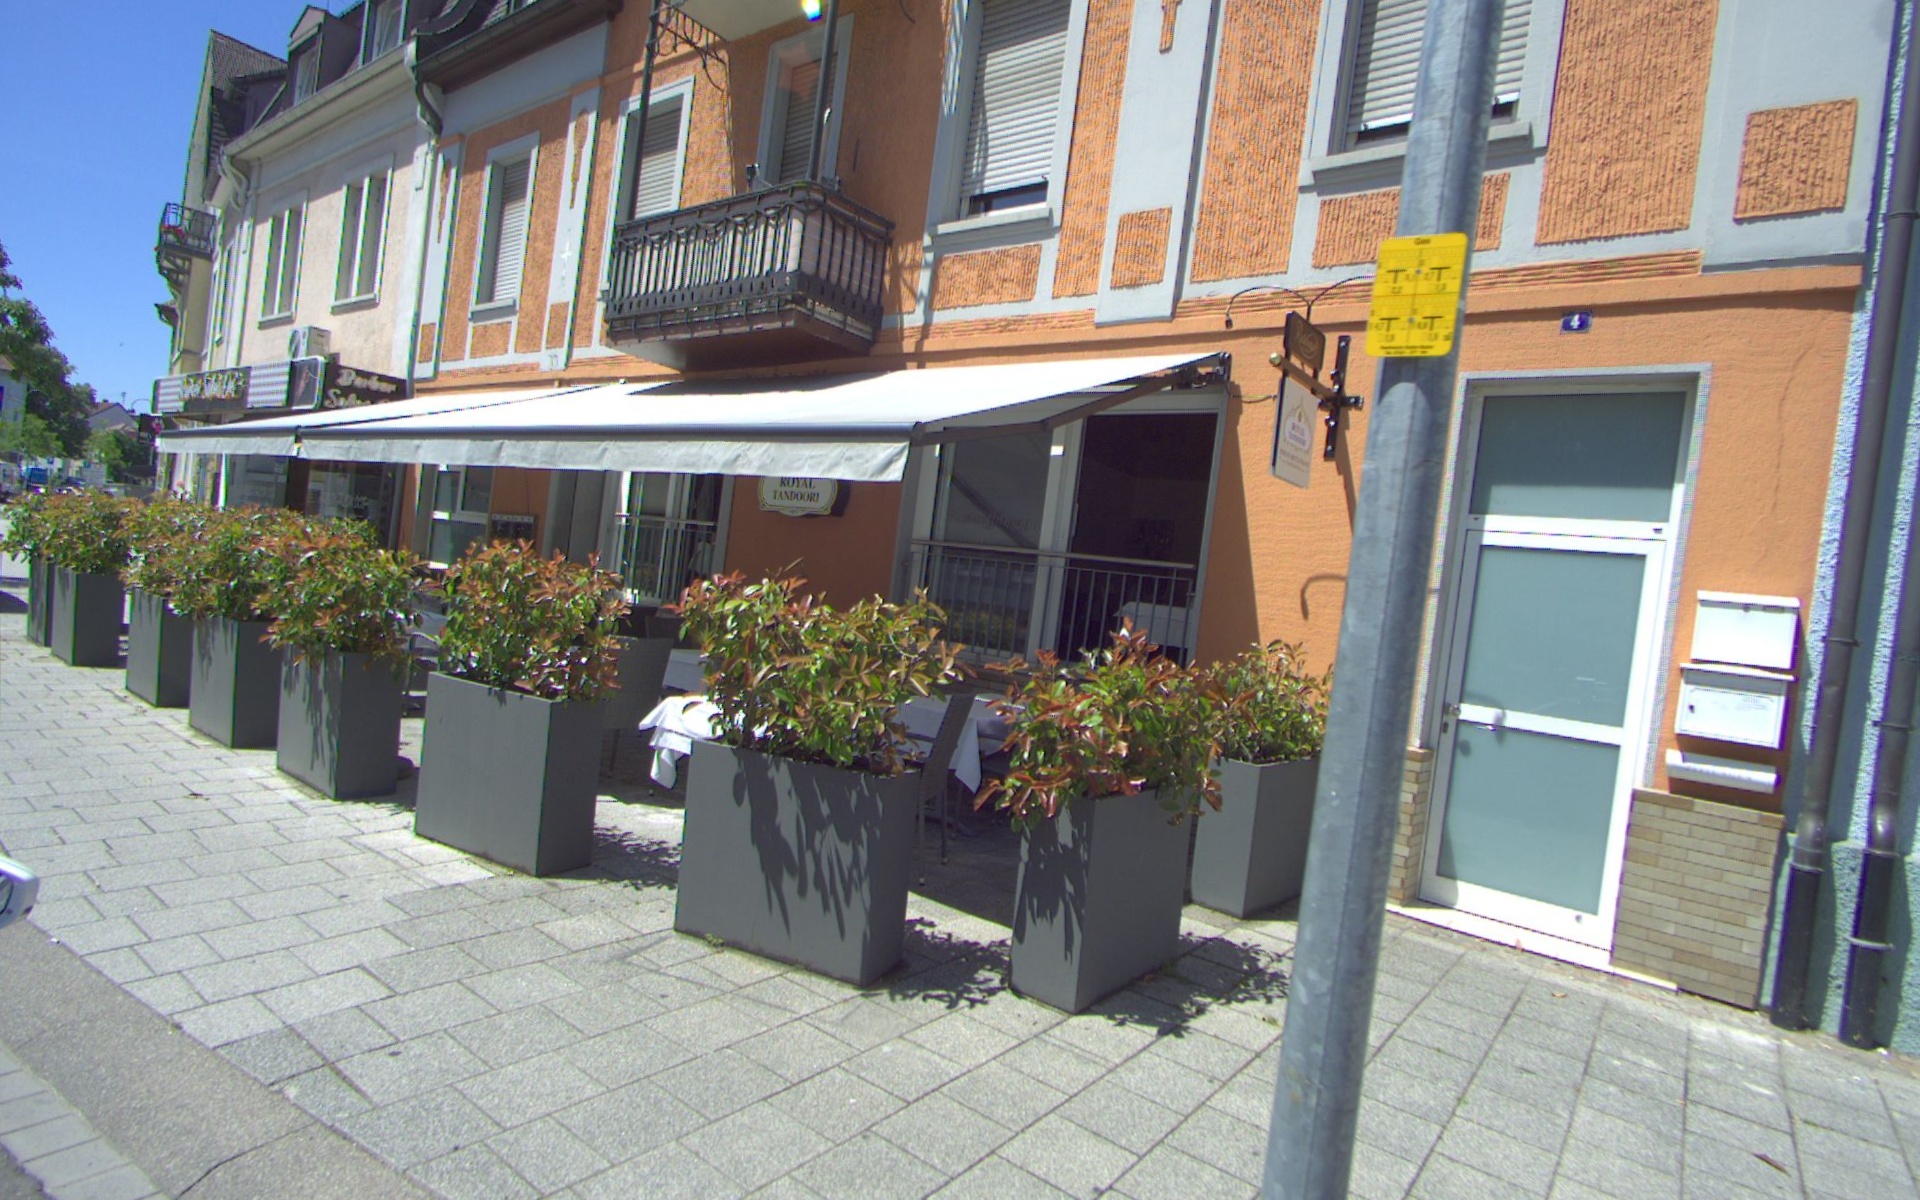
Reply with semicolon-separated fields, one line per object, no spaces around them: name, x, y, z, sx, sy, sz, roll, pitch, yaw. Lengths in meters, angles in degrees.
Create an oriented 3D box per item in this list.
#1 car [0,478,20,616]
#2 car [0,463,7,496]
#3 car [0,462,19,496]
car;-12.434;-0.793;11.692;3.943;1.505;1.746;7;2;41
car;-81.679;-10.328;81.616;5.599;2.610;2.496;8;-1;-29
car;-61.449;-7.786;63.917;1.986;2.038;3.955;8;-1;-40
